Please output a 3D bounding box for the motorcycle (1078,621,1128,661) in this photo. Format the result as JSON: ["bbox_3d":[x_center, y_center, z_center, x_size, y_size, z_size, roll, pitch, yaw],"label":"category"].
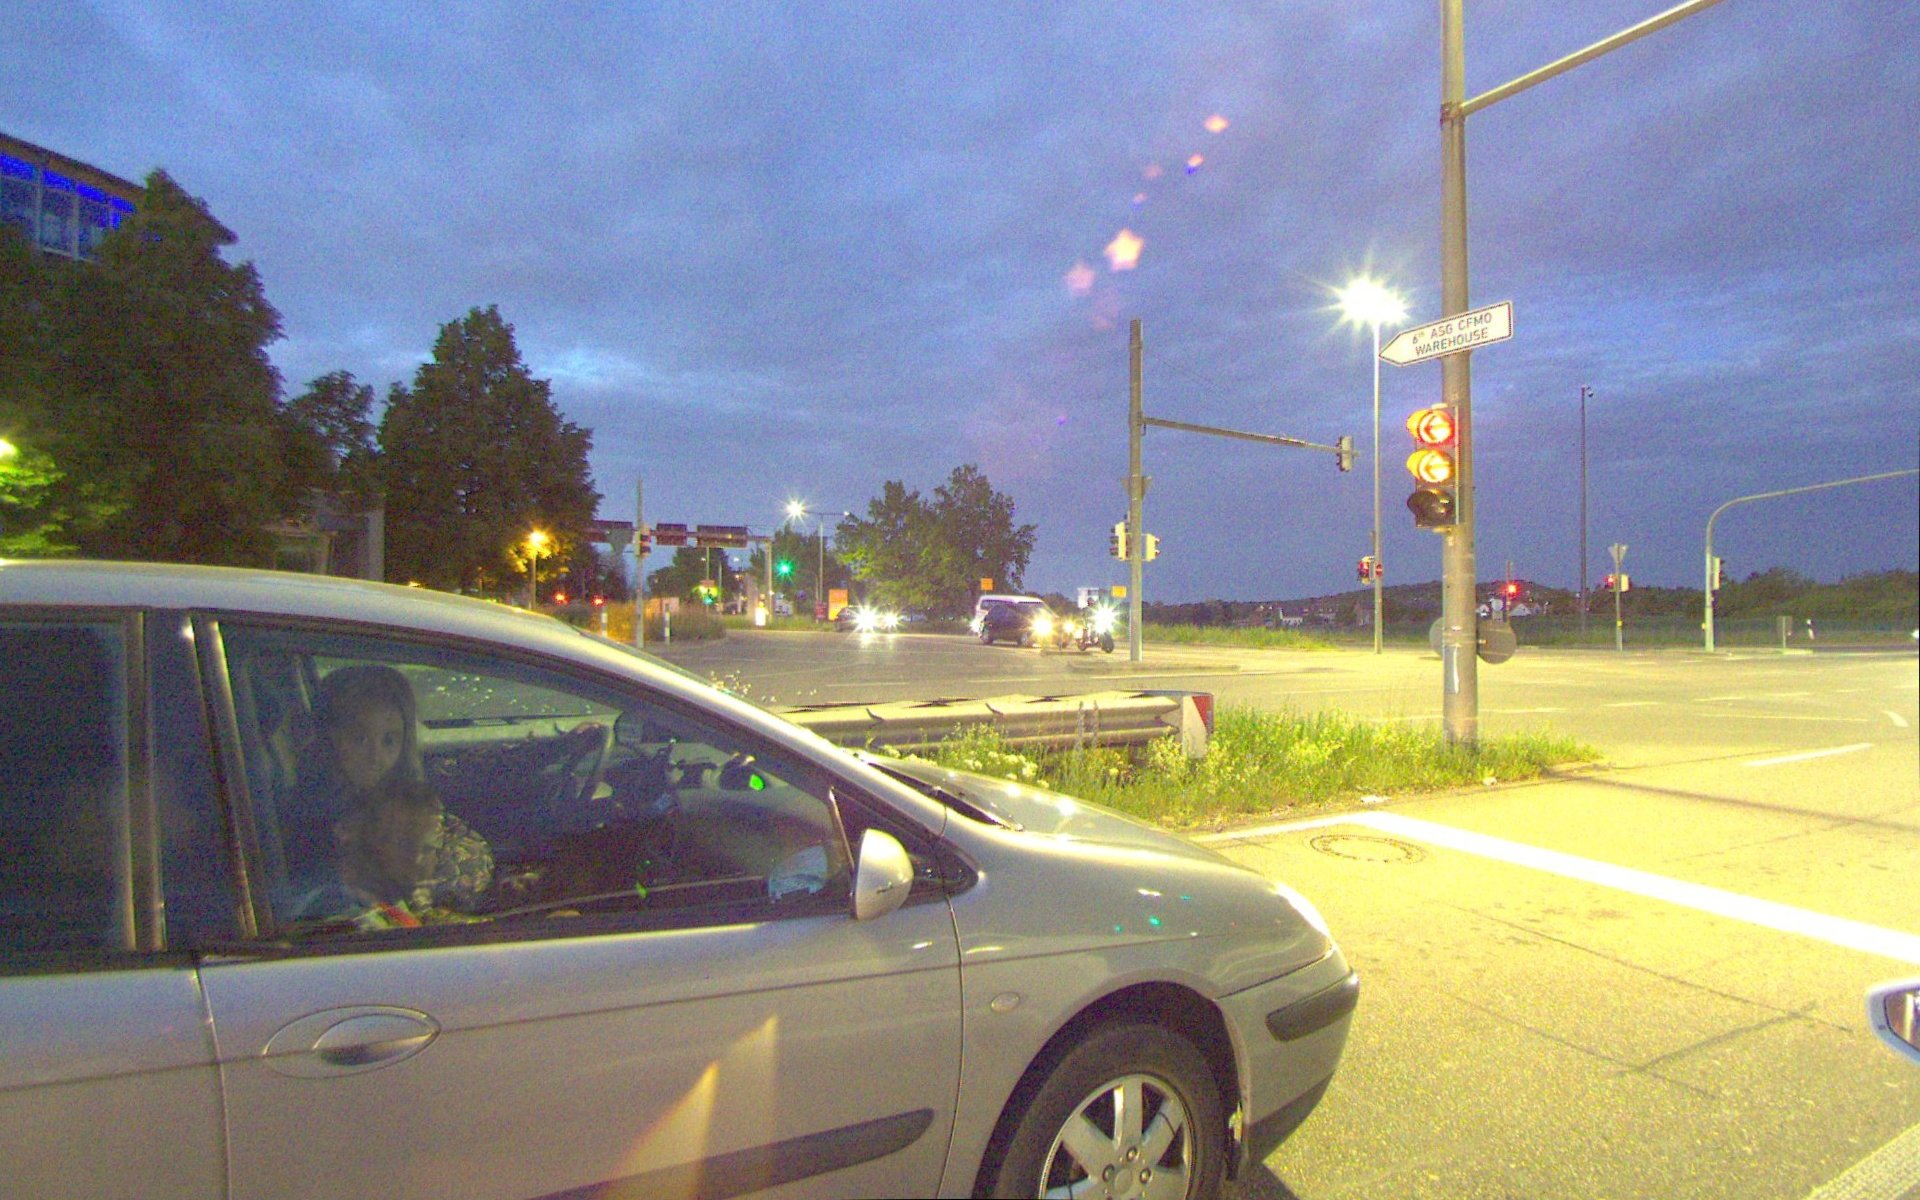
[{"bbox_3d":[4.413,1.261,31.154,0.664,1.179,1.797,1,0,-25],"label":"motorcycle"}]

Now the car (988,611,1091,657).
[{"bbox_3d":[2.686,1.137,34.582,1.754,1.467,3.751,1,-1,-30],"label":"car"}]

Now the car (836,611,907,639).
[{"bbox_3d":[-4.768,1.333,53.504,1.856,1.416,4.798,2,-1,-31],"label":"car"}]

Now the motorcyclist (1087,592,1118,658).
[{"bbox_3d":[4.442,0.774,31.407,0.628,2.040,0.763,1,0,-25],"label":"motorcyclist"}]

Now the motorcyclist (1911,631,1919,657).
[{"bbox_3d":[66.835,3.061,69.934,0.783,1.781,0.677,4,-6,-38],"label":"motorcyclist"}]

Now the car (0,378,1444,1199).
[{"bbox_3d":[-1.140,0.587,2.058,4.358,1.675,1.658,1,0,-30],"label":"car"}]

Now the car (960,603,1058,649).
[{"bbox_3d":[1.977,1.050,41.984,1.827,1.838,4.737,1,-1,-29],"label":"car"}]

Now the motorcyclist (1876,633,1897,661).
[{"bbox_3d":[62.451,3.175,67.721,0.904,1.831,0.866,-5,-8,43],"label":"motorcyclist"}]
